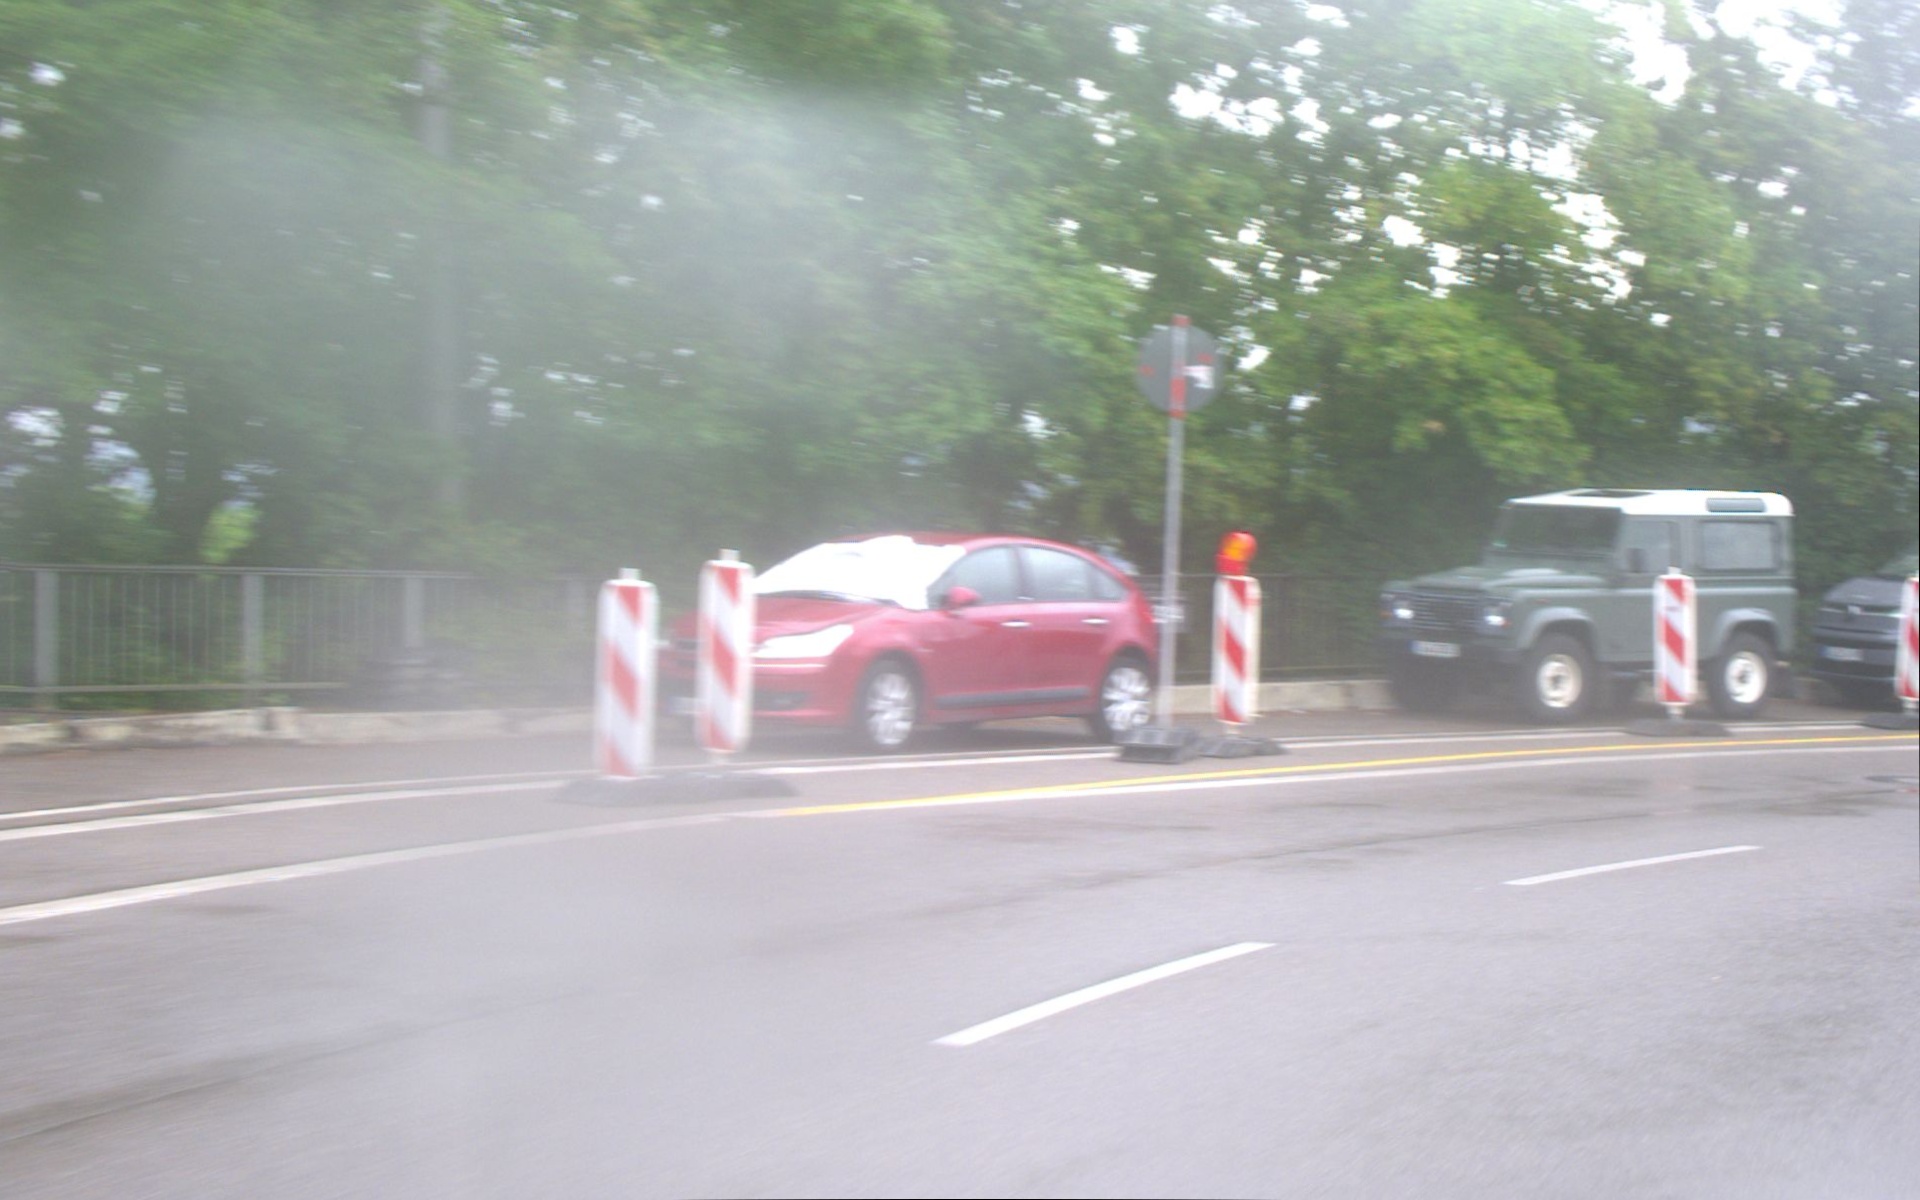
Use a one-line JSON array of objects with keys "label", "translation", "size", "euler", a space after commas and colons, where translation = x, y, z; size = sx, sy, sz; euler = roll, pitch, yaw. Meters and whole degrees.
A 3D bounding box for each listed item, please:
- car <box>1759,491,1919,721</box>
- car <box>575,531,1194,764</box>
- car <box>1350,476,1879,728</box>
[{"label": "car", "translation": [10.320, 0.099, 32.788], "size": [4.931, 2.006, 2.001], "euler": [2, 2, -23]}, {"label": "car", "translation": [-0.443, 0.289, 24.204], "size": [1.965, 1.435, 4.312], "euler": [3, 2, 40]}, {"label": "car", "translation": [5.813, -0.001, 30.224], "size": [4.799, 2.006, 1.871], "euler": [0, 3, -40]}]
